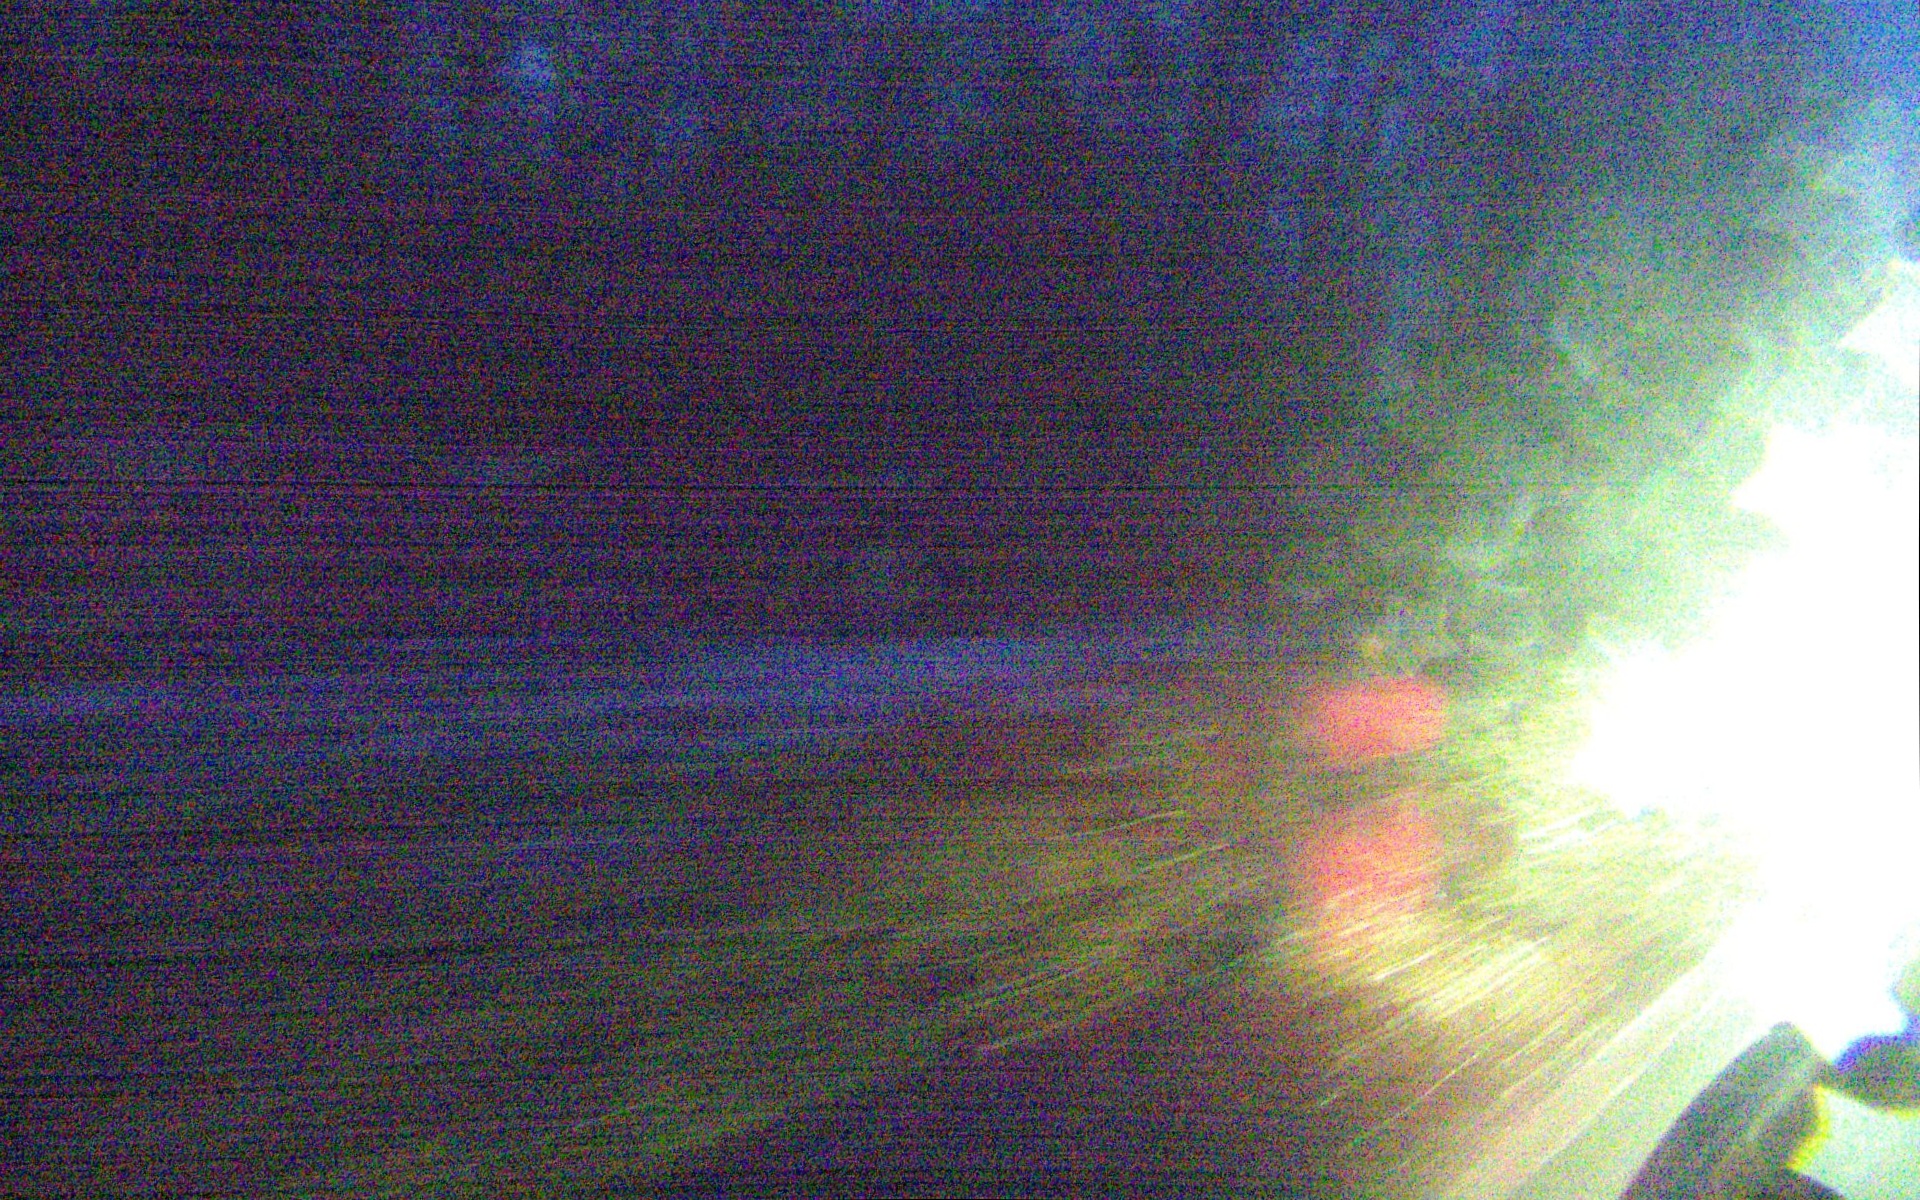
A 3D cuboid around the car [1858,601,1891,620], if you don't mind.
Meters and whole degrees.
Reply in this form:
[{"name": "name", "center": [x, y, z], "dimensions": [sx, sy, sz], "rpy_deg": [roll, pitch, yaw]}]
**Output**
[{"name": "car", "center": [83.210, 0.948, 92.113], "dimensions": [1.894, 1.580, 3.944], "rpy_deg": [5, 3, 38]}]
